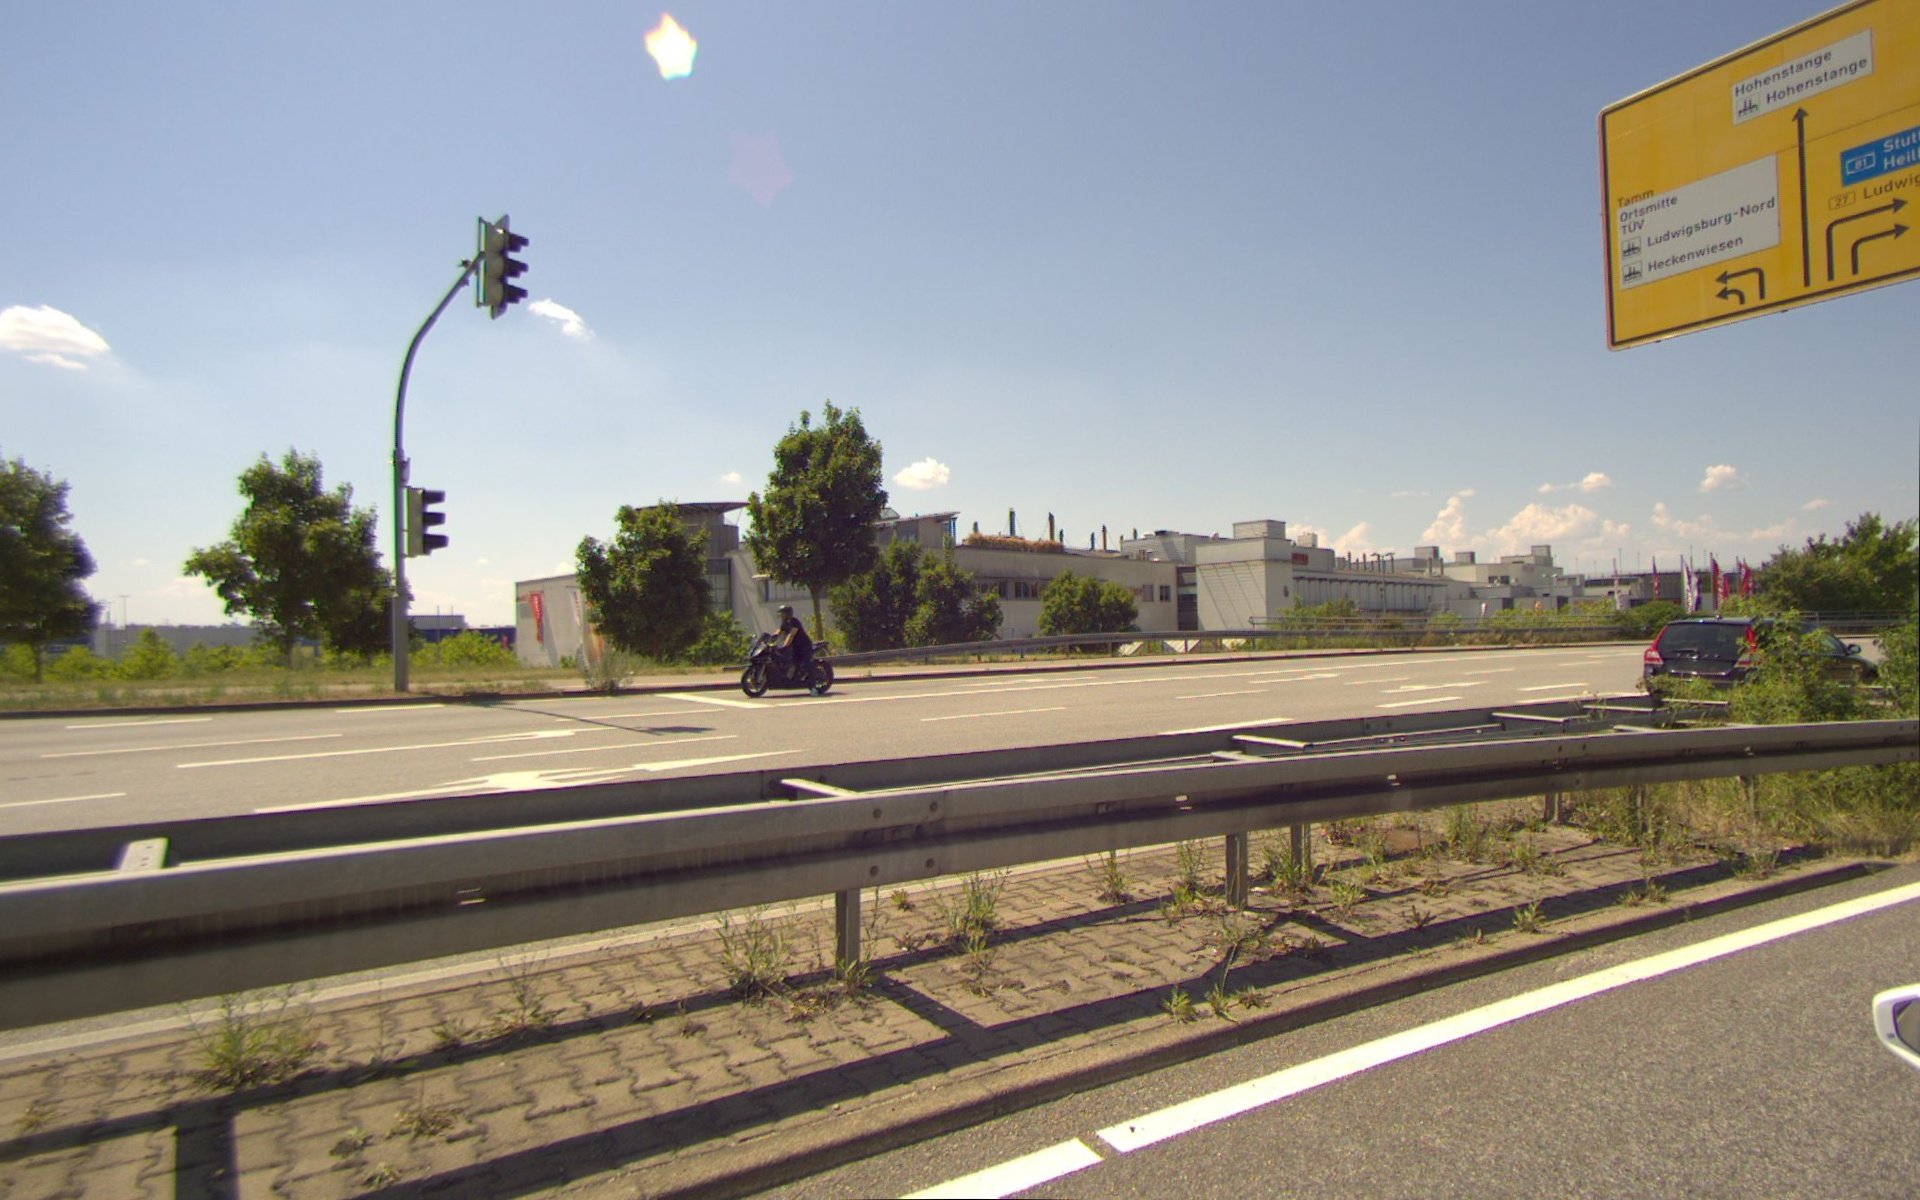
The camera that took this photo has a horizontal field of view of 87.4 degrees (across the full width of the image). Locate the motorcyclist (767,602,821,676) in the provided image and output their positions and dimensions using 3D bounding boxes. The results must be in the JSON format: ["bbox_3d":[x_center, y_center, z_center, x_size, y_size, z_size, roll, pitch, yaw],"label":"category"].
[{"bbox_3d":[-3.071,0.730,18.575,0.718,1.319,0.669,1,-4,-41],"label":"motorcyclist"}]

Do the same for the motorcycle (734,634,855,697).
[{"bbox_3d":[-3.028,1.193,18.578,2.266,1.094,0.557,1,-3,-41],"label":"motorcycle"}]

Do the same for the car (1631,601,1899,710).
[{"bbox_3d":[13.100,0.868,16.282,4.676,1.565,1.724,1,-2,-29],"label":"car"}]
